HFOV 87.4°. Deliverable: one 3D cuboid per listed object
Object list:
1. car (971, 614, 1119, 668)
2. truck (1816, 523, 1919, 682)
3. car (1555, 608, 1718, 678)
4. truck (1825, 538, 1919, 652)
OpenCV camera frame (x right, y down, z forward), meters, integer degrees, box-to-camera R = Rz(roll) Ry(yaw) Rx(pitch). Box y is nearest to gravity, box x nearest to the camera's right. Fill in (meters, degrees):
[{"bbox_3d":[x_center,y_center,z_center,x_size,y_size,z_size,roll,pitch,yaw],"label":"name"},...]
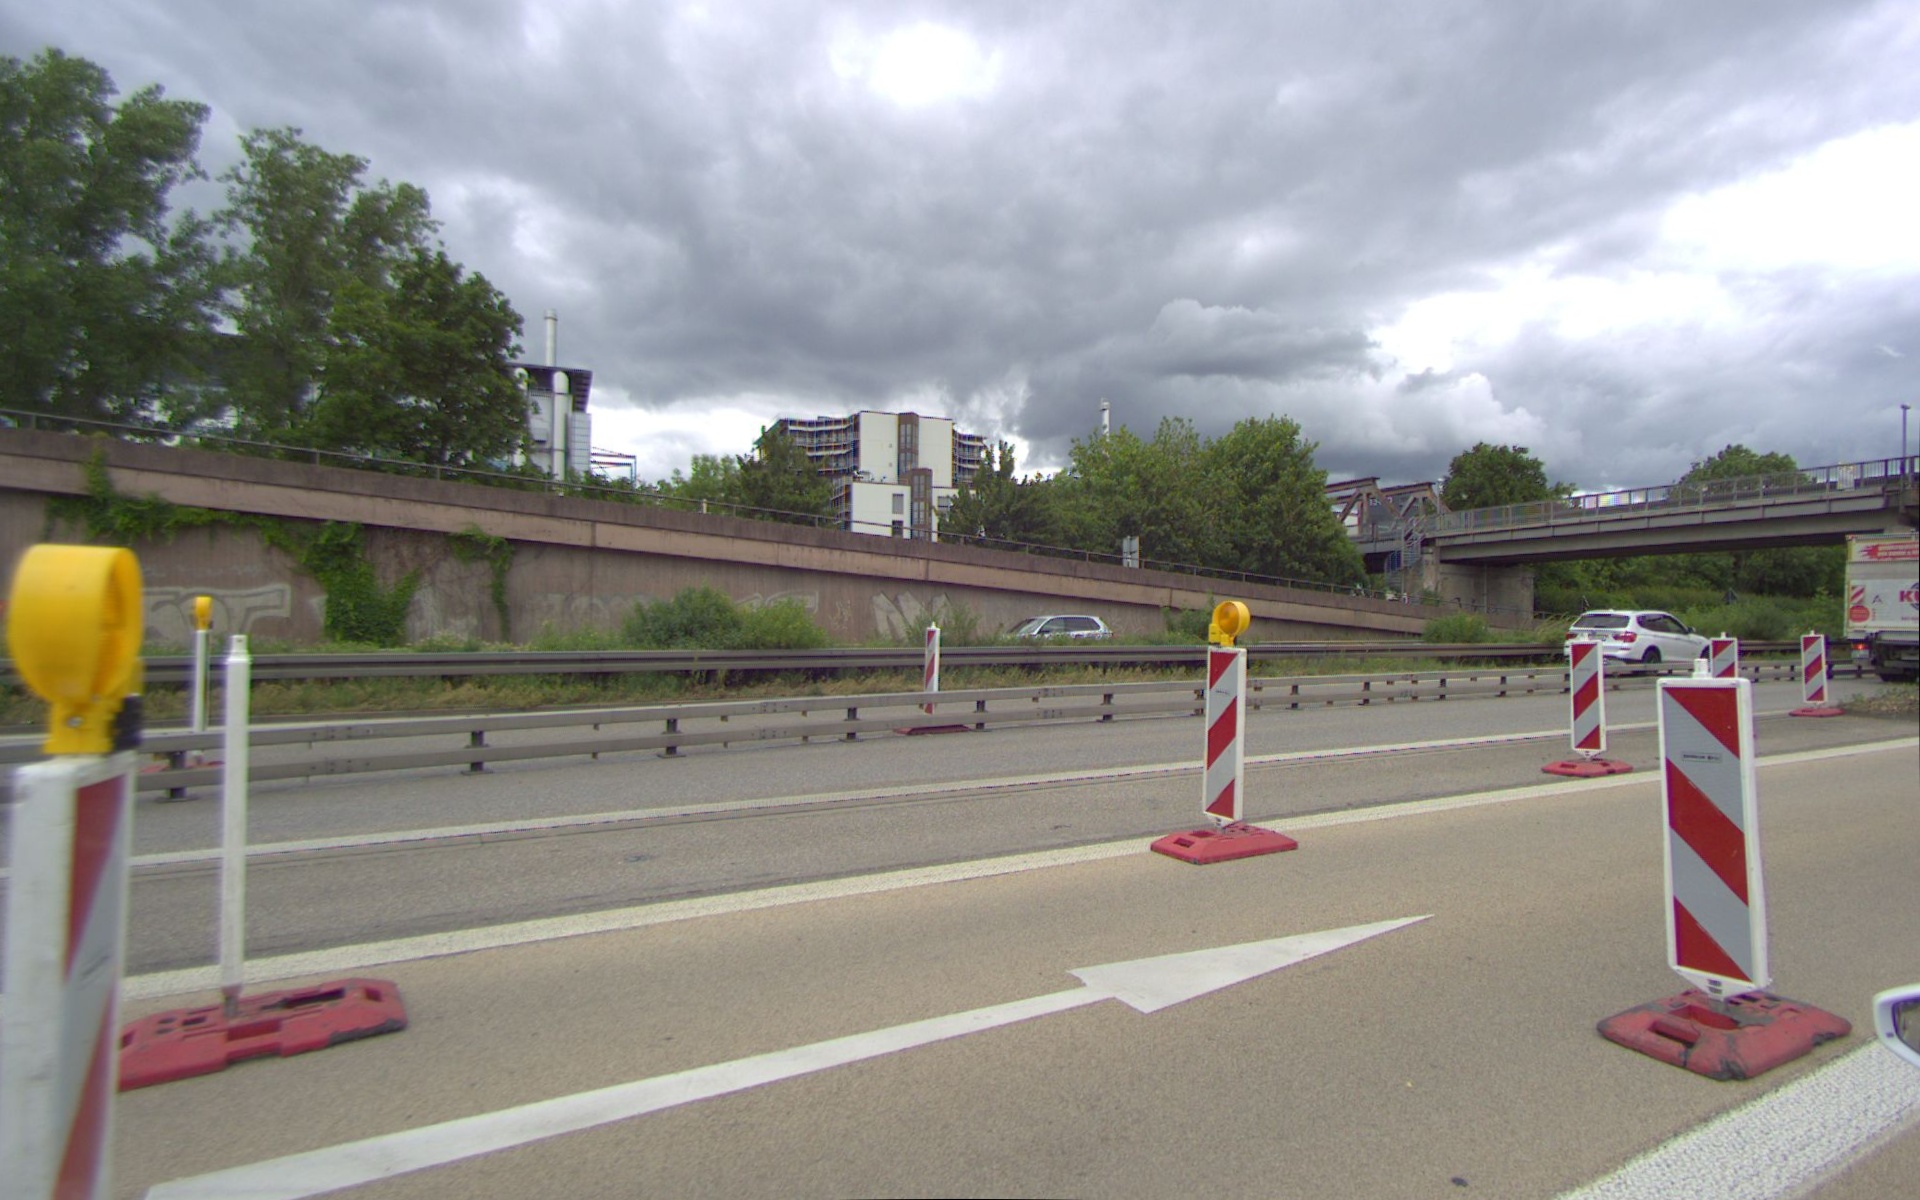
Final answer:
[{"bbox_3d":[2.475,1.174,29.014,3.935,1.471,1.880,1,-2,-32],"label":"car"},{"bbox_3d":[26.232,0.127,26.027,10.031,3.678,2.940,1,-1,-29],"label":"truck"},{"bbox_3d":[17.381,1.075,25.784,4.242,1.662,1.845,1,0,-31],"label":"car"},{"bbox_3d":[33.132,-0.055,34.590,7.656,3.603,2.978,1,-2,-33],"label":"truck"}]
